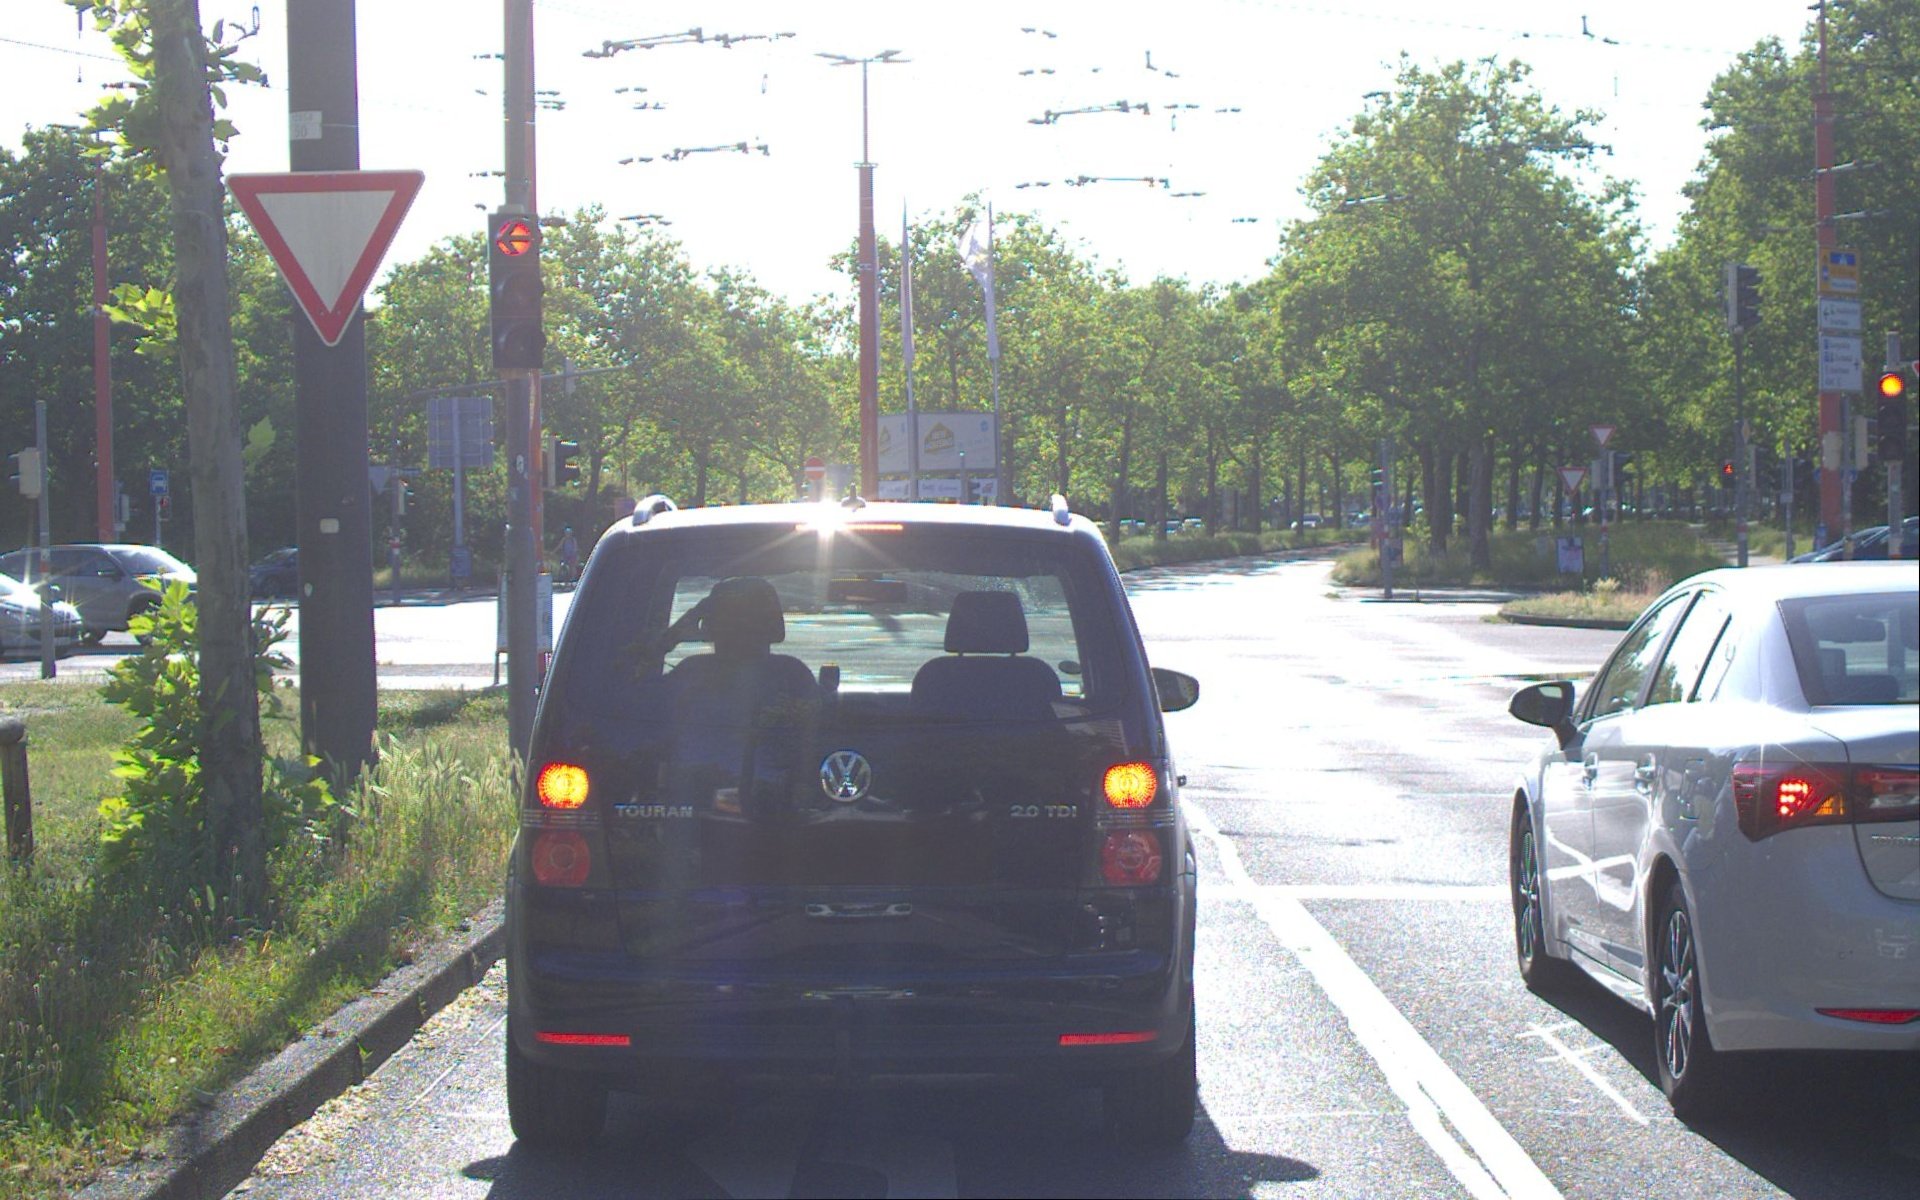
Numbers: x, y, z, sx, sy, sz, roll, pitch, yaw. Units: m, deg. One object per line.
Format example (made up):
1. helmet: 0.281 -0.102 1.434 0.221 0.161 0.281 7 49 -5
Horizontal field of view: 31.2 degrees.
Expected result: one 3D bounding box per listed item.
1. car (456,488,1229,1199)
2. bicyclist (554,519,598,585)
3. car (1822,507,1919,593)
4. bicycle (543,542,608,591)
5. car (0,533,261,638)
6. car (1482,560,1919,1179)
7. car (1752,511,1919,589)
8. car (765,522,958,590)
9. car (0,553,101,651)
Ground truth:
1. car: -0.249 0.535 9.978 1.738 1.597 4.326 1 1 1
2. bicyclist: -11.152 -1.390 99.973 0.977 1.897 1.050 0 1 12
3. car: 17.474 -0.897 61.407 3.796 1.505 1.655 1 1 24
4. bicycle: -11.159 -0.983 99.939 0.977 1.384 2.978 0 1 12
5. car: -13.757 -0.264 56.221 4.636 1.641 1.654 1 1 30
6. car: 2.761 0.615 10.156 1.799 1.435 4.326 1 1 1
7. car: 17.200 -0.954 65.355 3.919 1.452 1.654 1 1 26
8. car: -2.169 -0.981 75.396 3.919 1.452 1.654 1 1 26
9. car: -15.180 0.002 52.612 3.835 1.436 1.654 1 1 28
